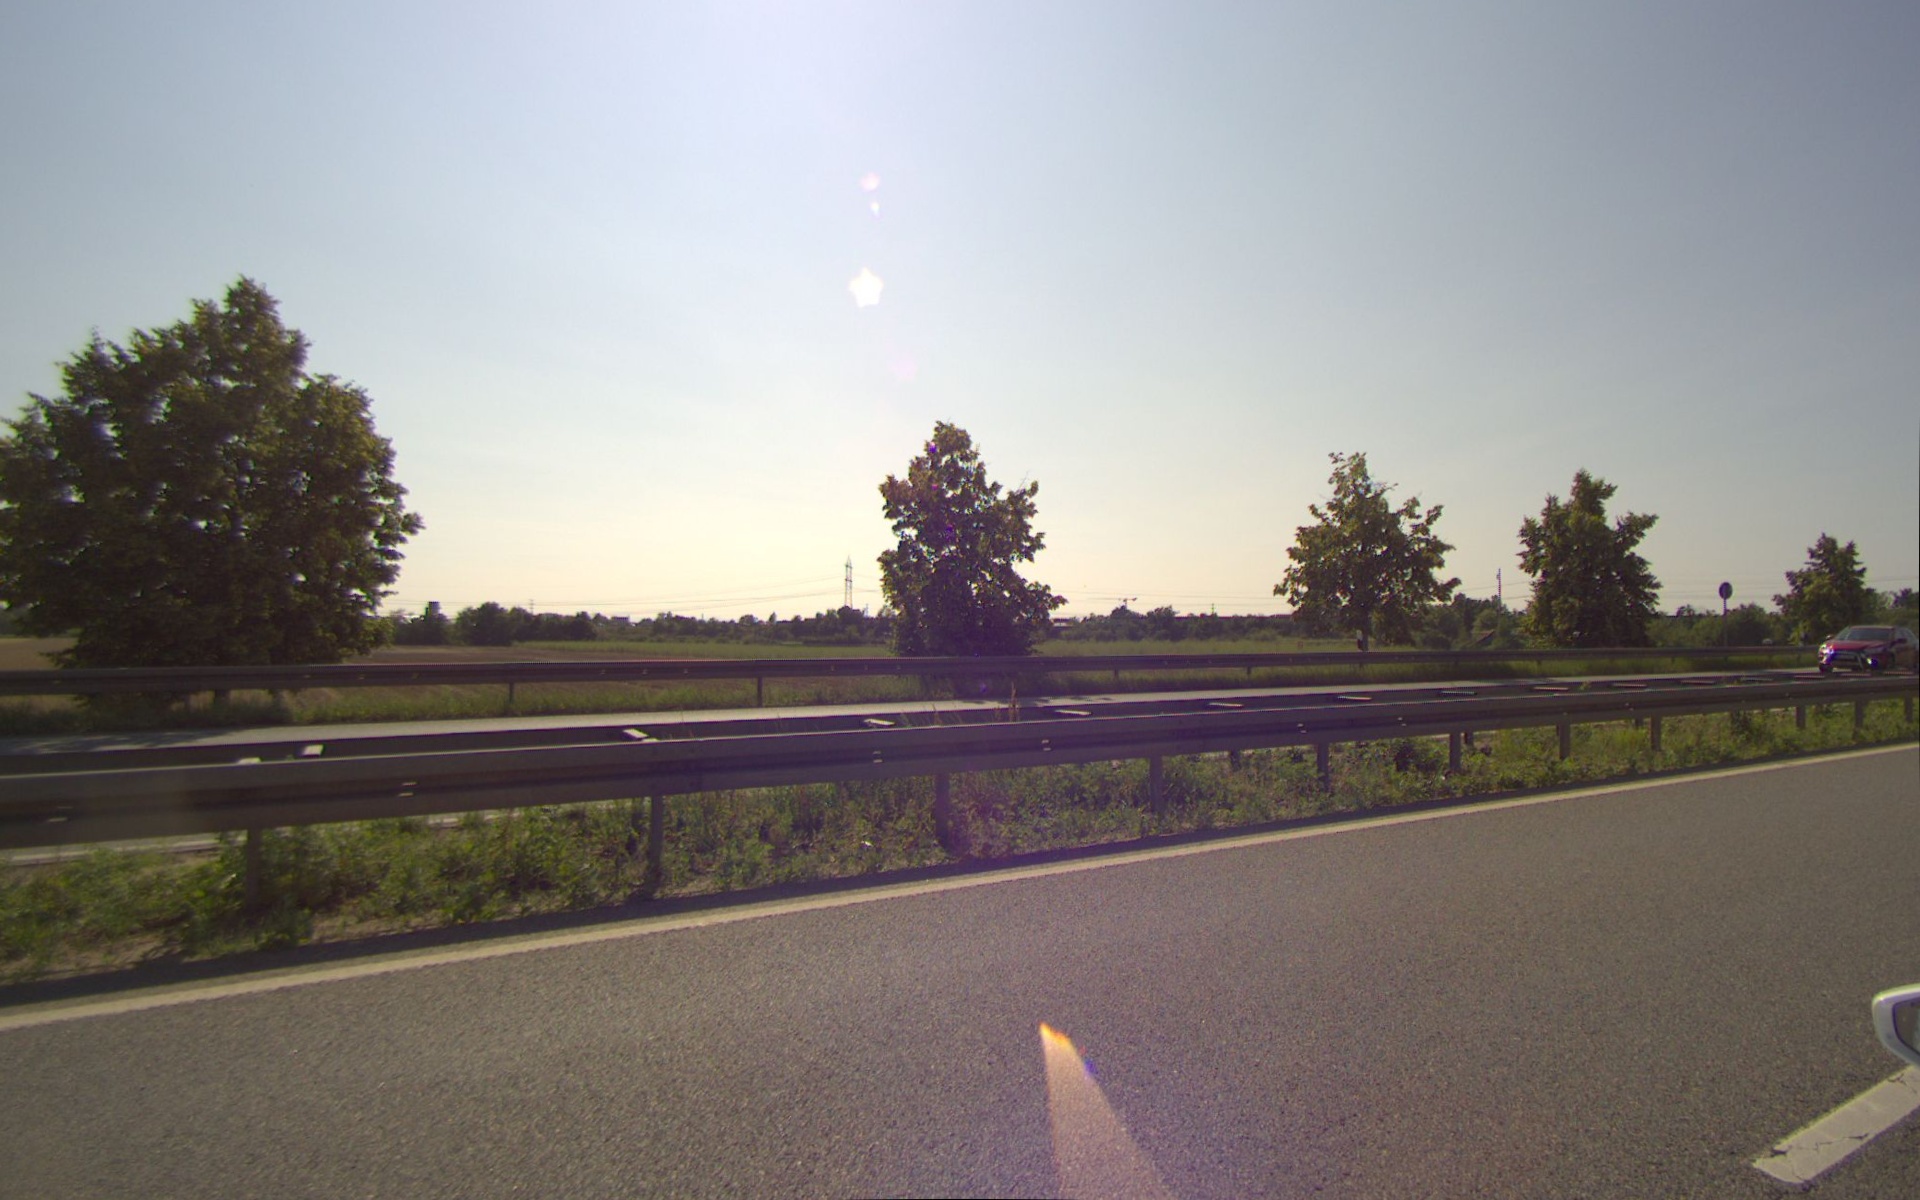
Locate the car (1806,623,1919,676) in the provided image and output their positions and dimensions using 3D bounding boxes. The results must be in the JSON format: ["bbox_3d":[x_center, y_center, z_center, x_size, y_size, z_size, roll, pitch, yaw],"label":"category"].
[{"bbox_3d":[30.527,1.613,33.645,4.717,1.614,1.835,1,0,-30],"label":"car"}]
